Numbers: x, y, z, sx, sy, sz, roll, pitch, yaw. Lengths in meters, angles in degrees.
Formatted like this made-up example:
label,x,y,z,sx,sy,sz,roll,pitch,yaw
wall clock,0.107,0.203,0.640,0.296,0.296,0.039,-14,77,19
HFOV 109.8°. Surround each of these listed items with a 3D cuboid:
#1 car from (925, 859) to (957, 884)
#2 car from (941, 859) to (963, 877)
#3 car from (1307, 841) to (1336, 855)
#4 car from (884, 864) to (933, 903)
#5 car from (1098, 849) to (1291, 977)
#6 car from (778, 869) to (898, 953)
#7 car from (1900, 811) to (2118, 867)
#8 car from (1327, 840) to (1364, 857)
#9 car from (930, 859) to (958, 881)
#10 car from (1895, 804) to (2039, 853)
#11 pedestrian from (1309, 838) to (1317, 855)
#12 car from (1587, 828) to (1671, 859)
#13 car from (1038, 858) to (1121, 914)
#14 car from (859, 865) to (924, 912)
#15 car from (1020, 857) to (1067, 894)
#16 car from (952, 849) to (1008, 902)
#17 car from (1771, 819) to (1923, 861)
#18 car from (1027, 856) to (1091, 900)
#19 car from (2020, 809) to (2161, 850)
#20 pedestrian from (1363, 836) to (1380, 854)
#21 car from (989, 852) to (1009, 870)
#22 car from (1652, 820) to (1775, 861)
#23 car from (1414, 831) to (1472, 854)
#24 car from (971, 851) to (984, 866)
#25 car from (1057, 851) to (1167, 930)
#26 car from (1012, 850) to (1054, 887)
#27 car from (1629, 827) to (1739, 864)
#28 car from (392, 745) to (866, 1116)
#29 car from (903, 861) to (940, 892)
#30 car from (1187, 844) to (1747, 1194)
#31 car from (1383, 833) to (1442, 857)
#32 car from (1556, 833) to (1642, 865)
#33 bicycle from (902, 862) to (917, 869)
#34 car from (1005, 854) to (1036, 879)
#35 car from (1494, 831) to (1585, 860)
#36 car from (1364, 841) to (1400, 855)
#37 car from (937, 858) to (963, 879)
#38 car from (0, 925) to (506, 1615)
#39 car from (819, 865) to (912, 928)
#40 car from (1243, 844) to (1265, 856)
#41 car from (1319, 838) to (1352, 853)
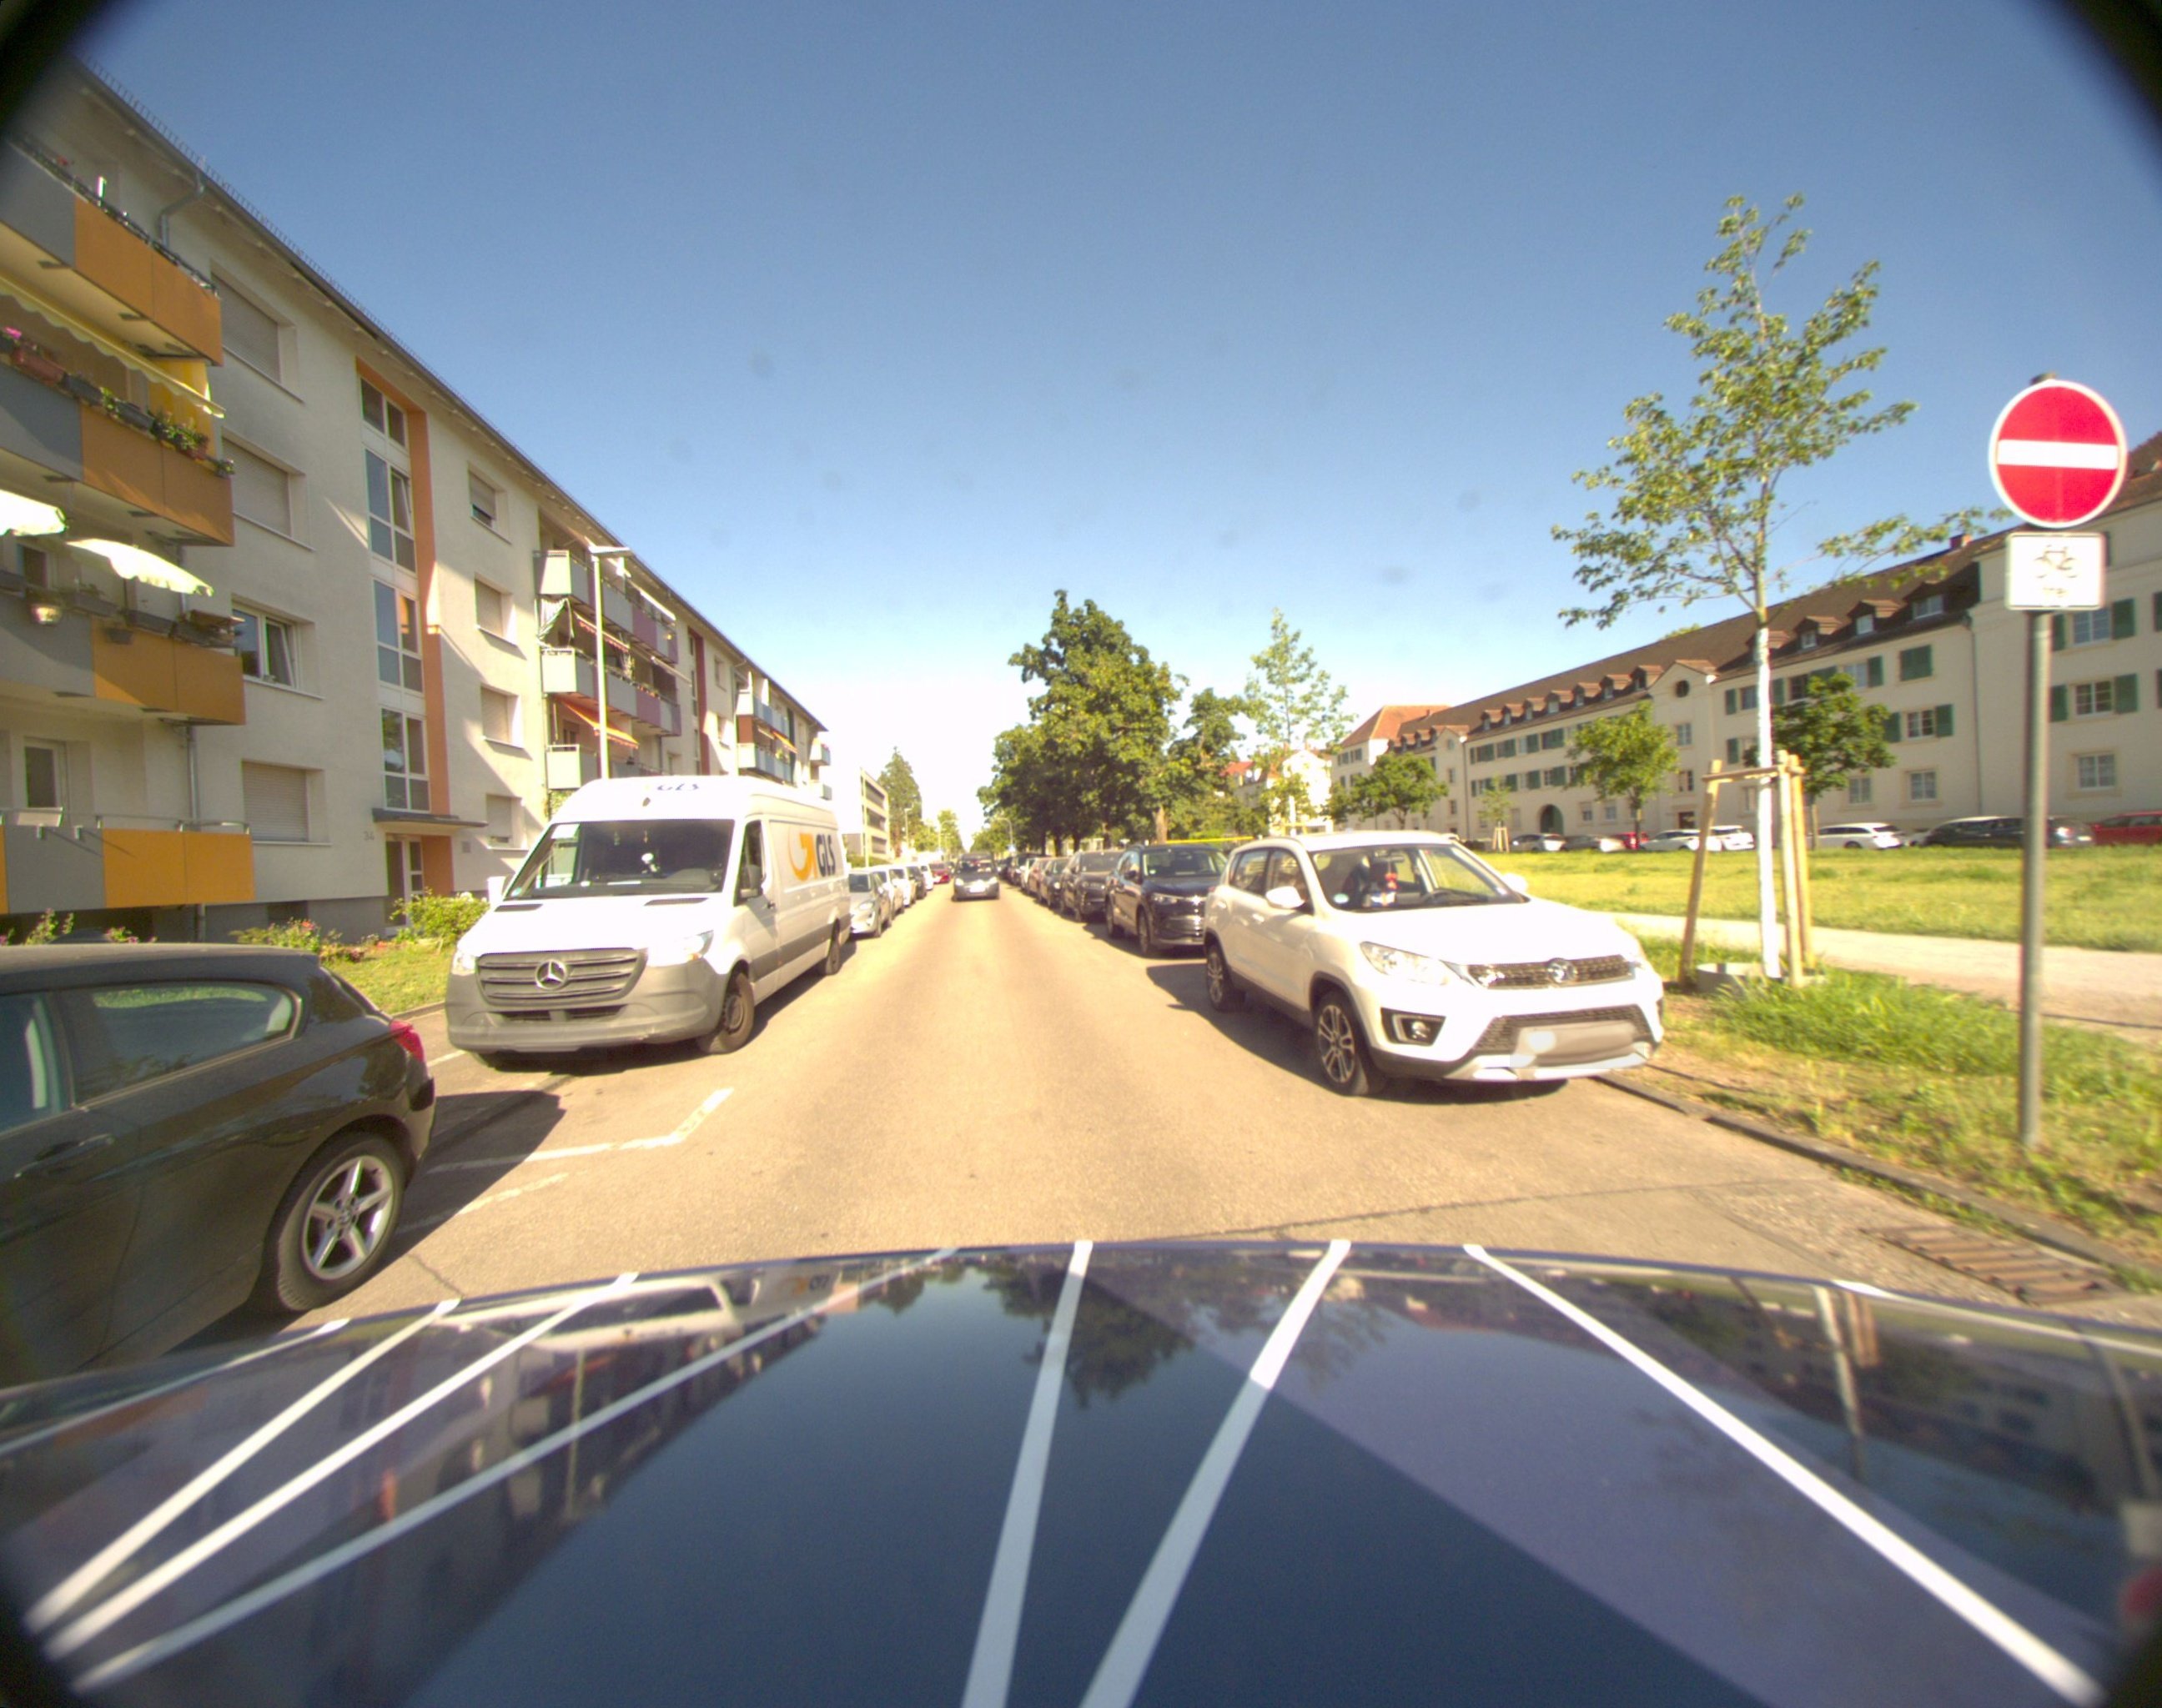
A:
label,x,y,z,sx,sy,sz,roll,pitch,yaw
car,-9.504,1.143,51.801,1.849,1.464,5.061,-3,0,-8
car,-11.503,1.226,67.972,1.664,1.465,3.790,-4,1,-8
car,26.357,-0.640,83.390,1.655,1.325,3.512,-3,0,-9
car,-7.253,1.195,32.313,1.705,1.427,4.468,-1,0,-9
car,1.565,0.767,12.336,1.848,1.629,4.711,-1,0,-8
car,-5.249,1.154,16.959,1.855,1.457,4.198,-4,0,-9
car,34.475,-0.507,28.478,2.165,1.810,4.701,-3,0,-10
car,27.146,-0.545,78.102,1.794,1.574,4.232,-3,0,-9
car,-10.359,1.161,57.324,1.880,1.525,4.489,-3,0,-11
car,39.310,-1.087,33.857,1.670,2.002,3.894,-3,1,-8
pedestrian,22.853,-0.744,74.853,0.545,1.675,0.673,-3,1,-3
car,36.938,-0.652,51.325,2.271,1.894,4.163,-3,0,-9
car,-0.166,0.891,23.315,1.879,1.510,4.466,-1,0,-9
car,-6.624,1.147,26.921,1.726,1.427,4.150,-2,0,-8
car,-1.679,0.871,32.802,1.592,1.484,3.682,-1,0,-9
car,-3.864,0.783,28.924,1.904,1.779,4.154,-3,0,-8
car,38.705,-0.653,38.631,2.160,1.875,5.155,-3,0,-8
car,-0.921,0.820,28.425,1.761,1.483,4.664,-1,0,-9
car,39.959,-0.938,28.928,2.000,1.476,4.954,-2,0,-9
pedestrian,33.551,-1.035,87.618,1.344,1.952,1.162,-3,1,-13
car,-9.260,0.750,85.993,2.022,1.867,4.738,-3,0,-4
car,37.874,-0.762,45.755,2.539,2.203,5.253,-3,0,-10
car,33.918,-1.059,71.421,2.228,1.973,5.253,-3,0,-10
car,-19.153,0.763,140.756,2.075,2.583,6.199,-3,0,-6
car,0.597,0.768,18.345,1.825,1.600,4.735,-1,0,-8
car,-2.693,0.746,41.547,1.870,1.774,4.987,-3,1,-8
car,32.716,-0.425,41.378,2.243,1.810,4.254,-3,0,-10
car,-4.280,0.547,9.051,2.149,2.697,6.837,-1,0,-6
car,-8.521,1.183,40.795,1.754,1.490,3.857,-2,0,-11
car,2.230,0.789,5.853,1.761,1.637,4.284,-1,0,-7
car,29.135,-0.775,67.007,2.227,1.973,5.254,-3,0,-8
car,31.926,-0.298,47.004,2.324,1.740,4.006,-3,0,-6
bicycle,-24.942,1.664,110.348,2.031,1.057,0.882,0,0,-9
car,-4.318,0.850,53.788,2.032,1.616,4.754,-1,0,-7
car,31.220,-0.550,52.008,2.458,1.810,5.450,-3,0,-6
car,32.381,-0.655,81.841,1.774,1.348,3.997,-3,0,-8
car,-10.725,1.168,62.551,1.775,1.520,4.555,-3,0,-6
car,-3.544,1.108,1.436,1.965,1.473,4.495,-1,0,-9
car,-5.985,1.128,21.586,1.884,1.466,4.137,-2,0,-7
car,27.032,-0.555,118.852,1.956,1.783,3.997,-3,0,-6
car,36.054,-1.188,107.694,3.815,1.944,2.042,-3,1,-6
